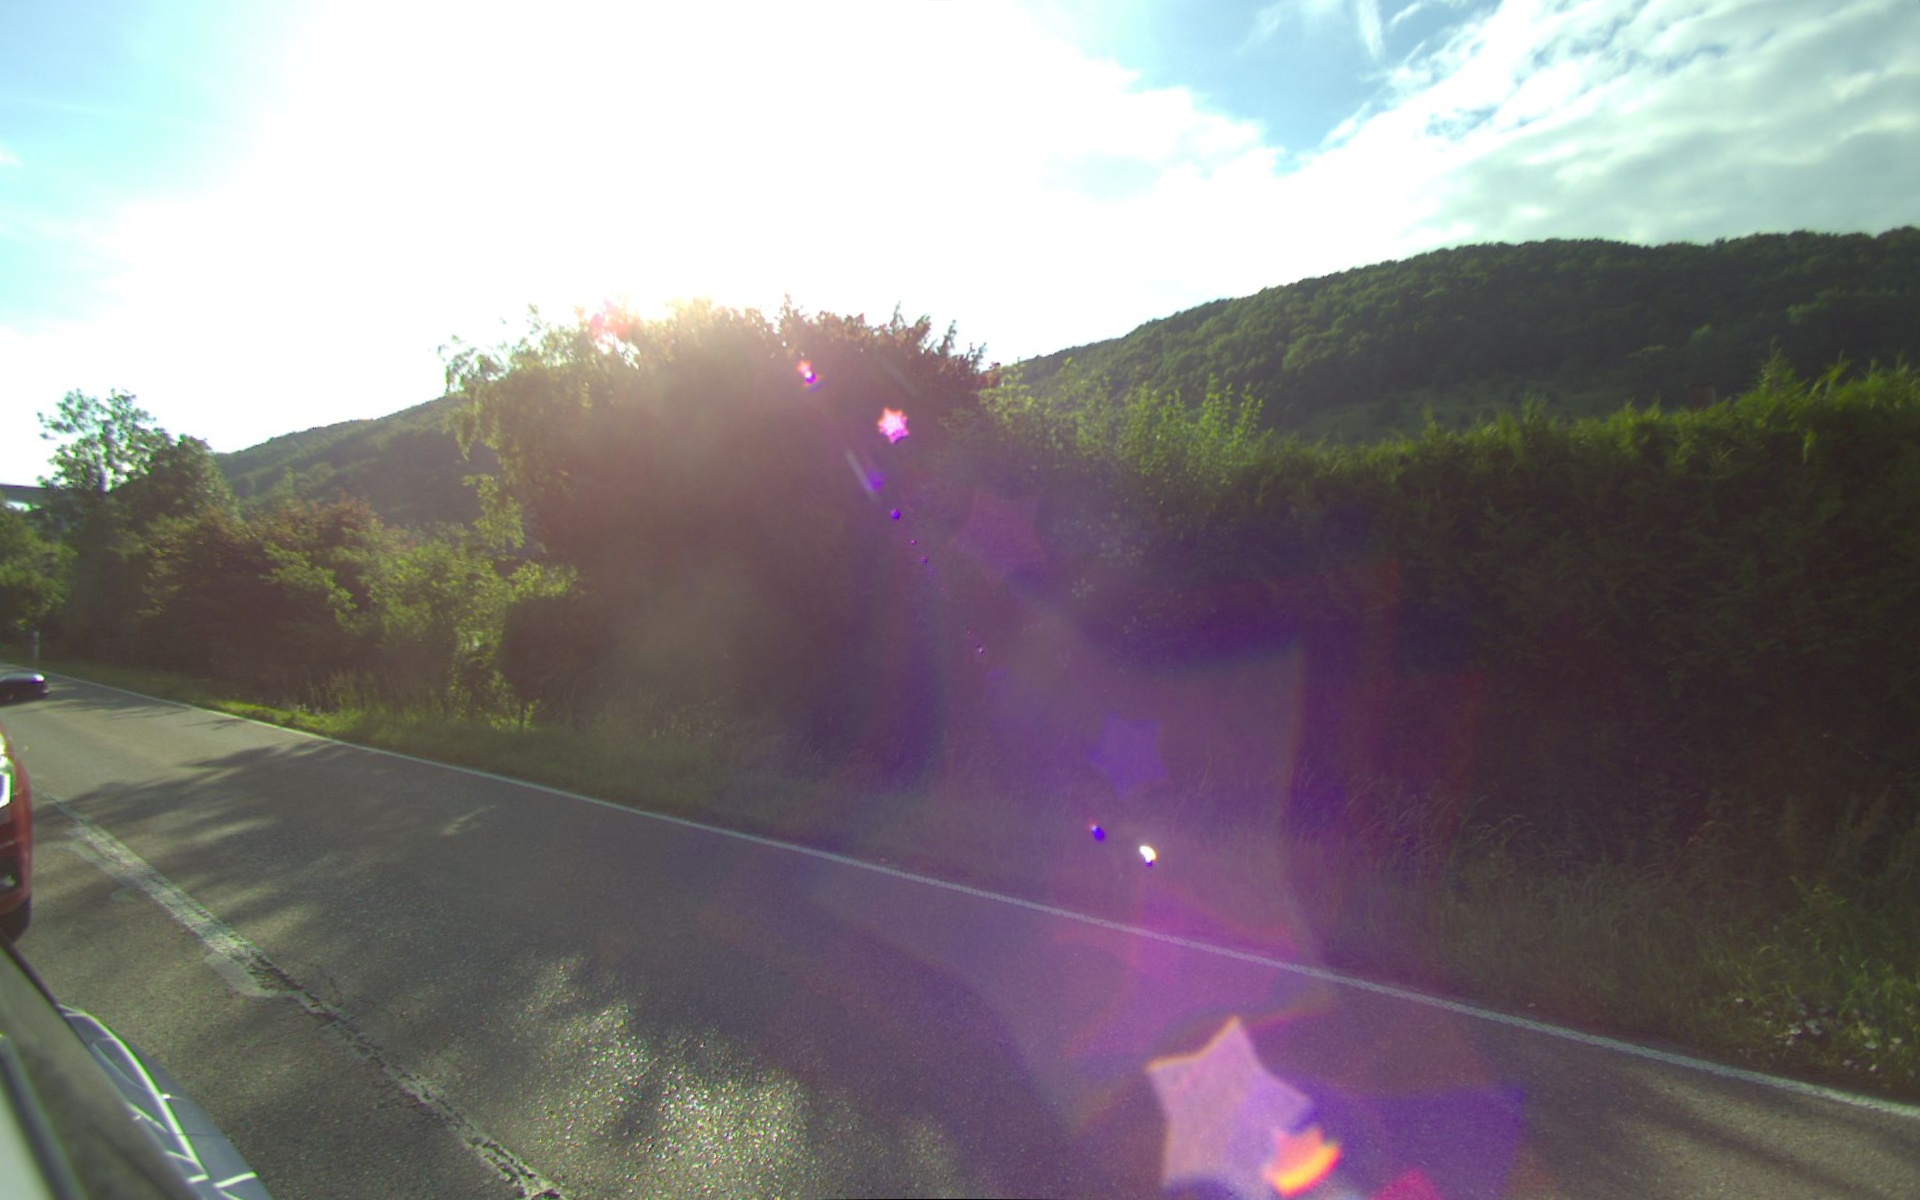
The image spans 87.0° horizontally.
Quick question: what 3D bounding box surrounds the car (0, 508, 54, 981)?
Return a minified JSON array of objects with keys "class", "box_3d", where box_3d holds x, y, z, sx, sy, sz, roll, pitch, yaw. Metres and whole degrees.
[{"class":"car","box_3d":[-5.788,0.600,4.789,4.286,1.823,1.731,-1,1,42]}]
